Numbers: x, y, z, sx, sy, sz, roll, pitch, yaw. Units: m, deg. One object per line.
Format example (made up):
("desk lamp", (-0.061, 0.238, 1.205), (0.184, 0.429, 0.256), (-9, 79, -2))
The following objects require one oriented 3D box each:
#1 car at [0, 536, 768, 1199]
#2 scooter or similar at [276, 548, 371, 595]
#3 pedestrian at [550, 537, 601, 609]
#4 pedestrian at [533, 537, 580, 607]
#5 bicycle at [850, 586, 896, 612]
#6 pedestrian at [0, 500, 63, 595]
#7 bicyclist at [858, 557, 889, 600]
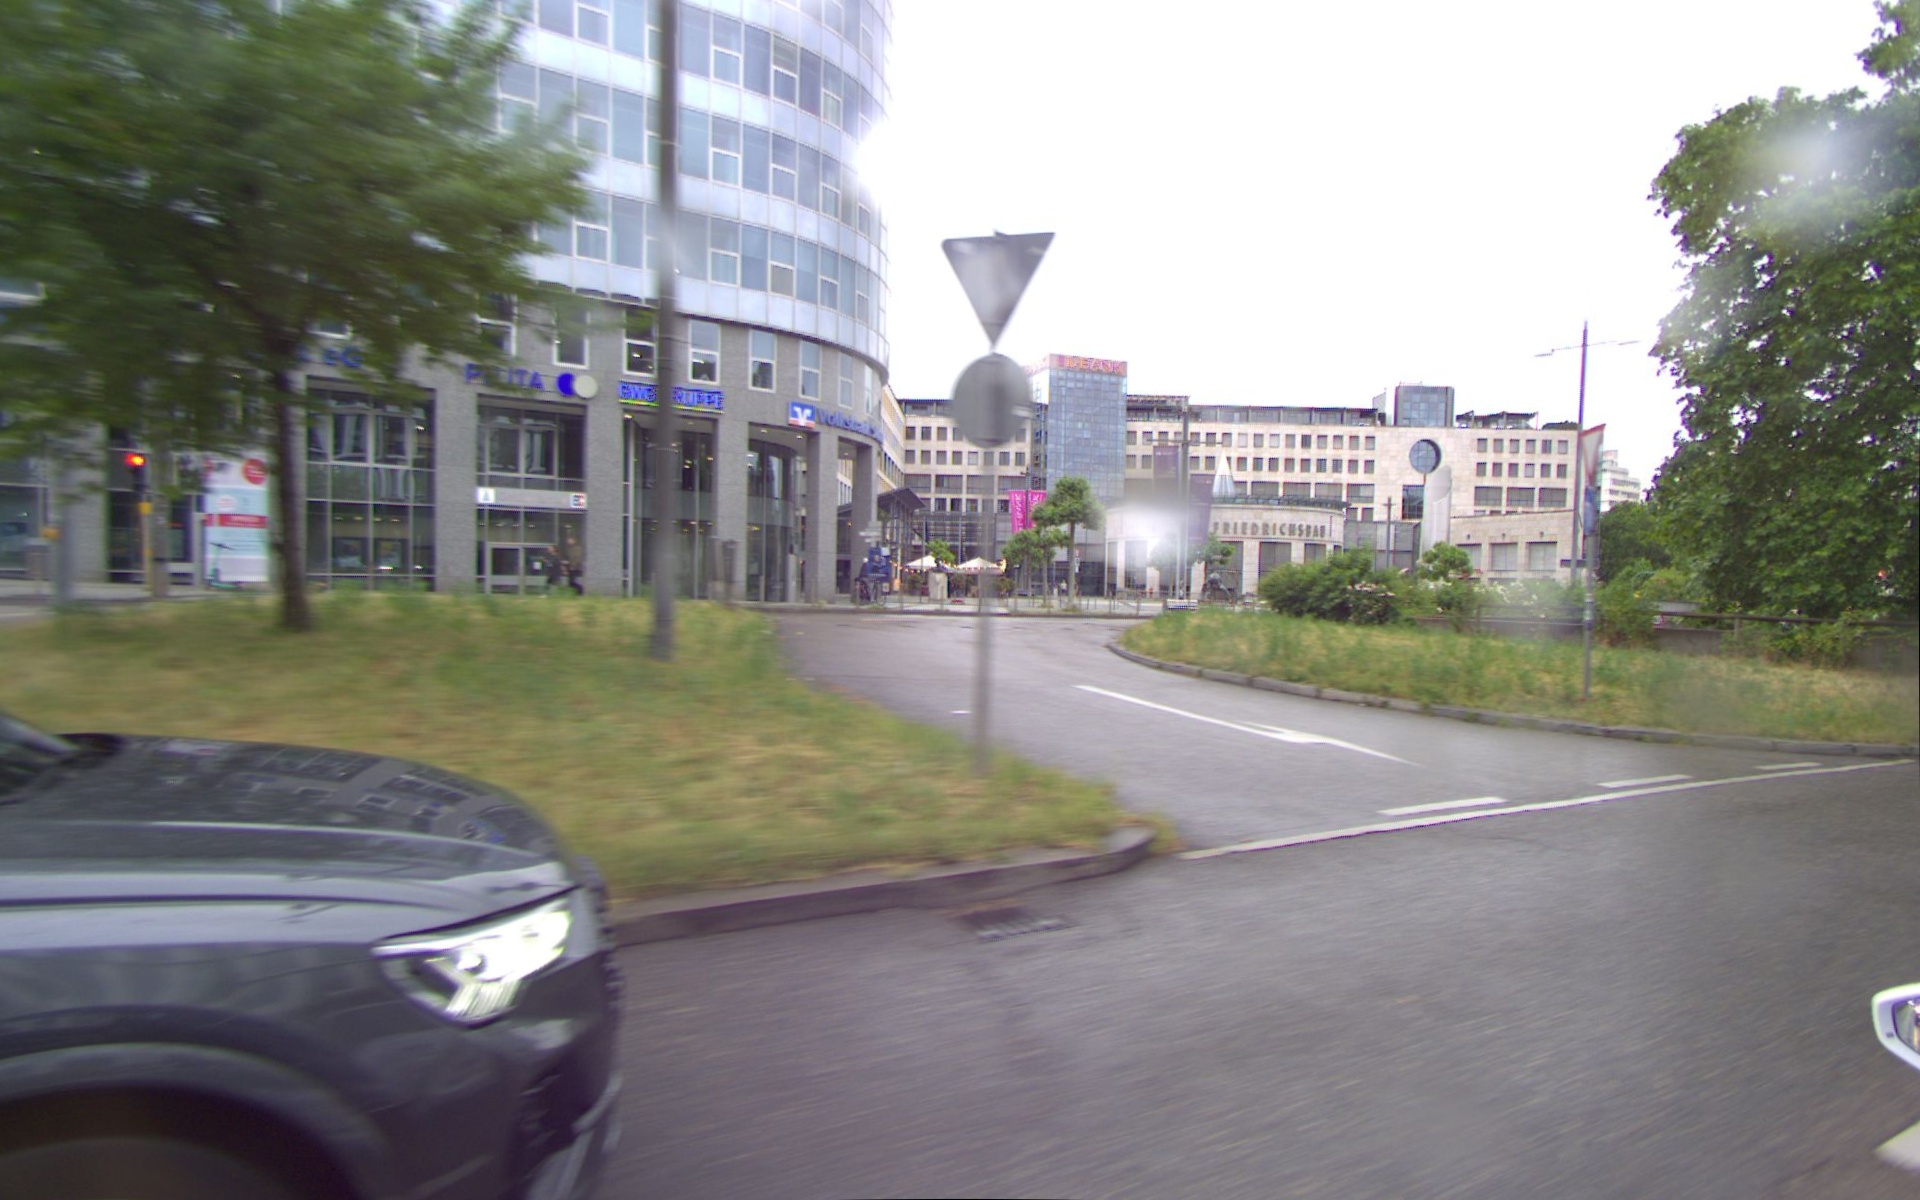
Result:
("car", (-2.676, 0.624, 1.559), (4.293, 1.538, 1.852), (2, 1, -29))
("scooter or similar", (-18.070, -0.798, 28.563), (2.223, 1.229, 0.768), (2, 2, -34))
("pedestrian", (-11.307, -0.791, 29.501), (1.028, 2.040, 1.042), (2, 1, -43))
("pedestrian", (-12.118, -0.832, 30.195), (1.028, 2.040, 0.841), (2, 1, -43))
("bicycle", (-3.662, -0.039, 42.411), (0.735, 1.020, 1.924), (2, 1, 41))
("pedestrian", (-19.436, -1.082, 21.037), (0.926, 1.906, 0.947), (2, 1, -43))
("bicyclist", (-3.649, -0.893, 42.379), (0.728, 1.764, 1.036), (3, 1, 41))
